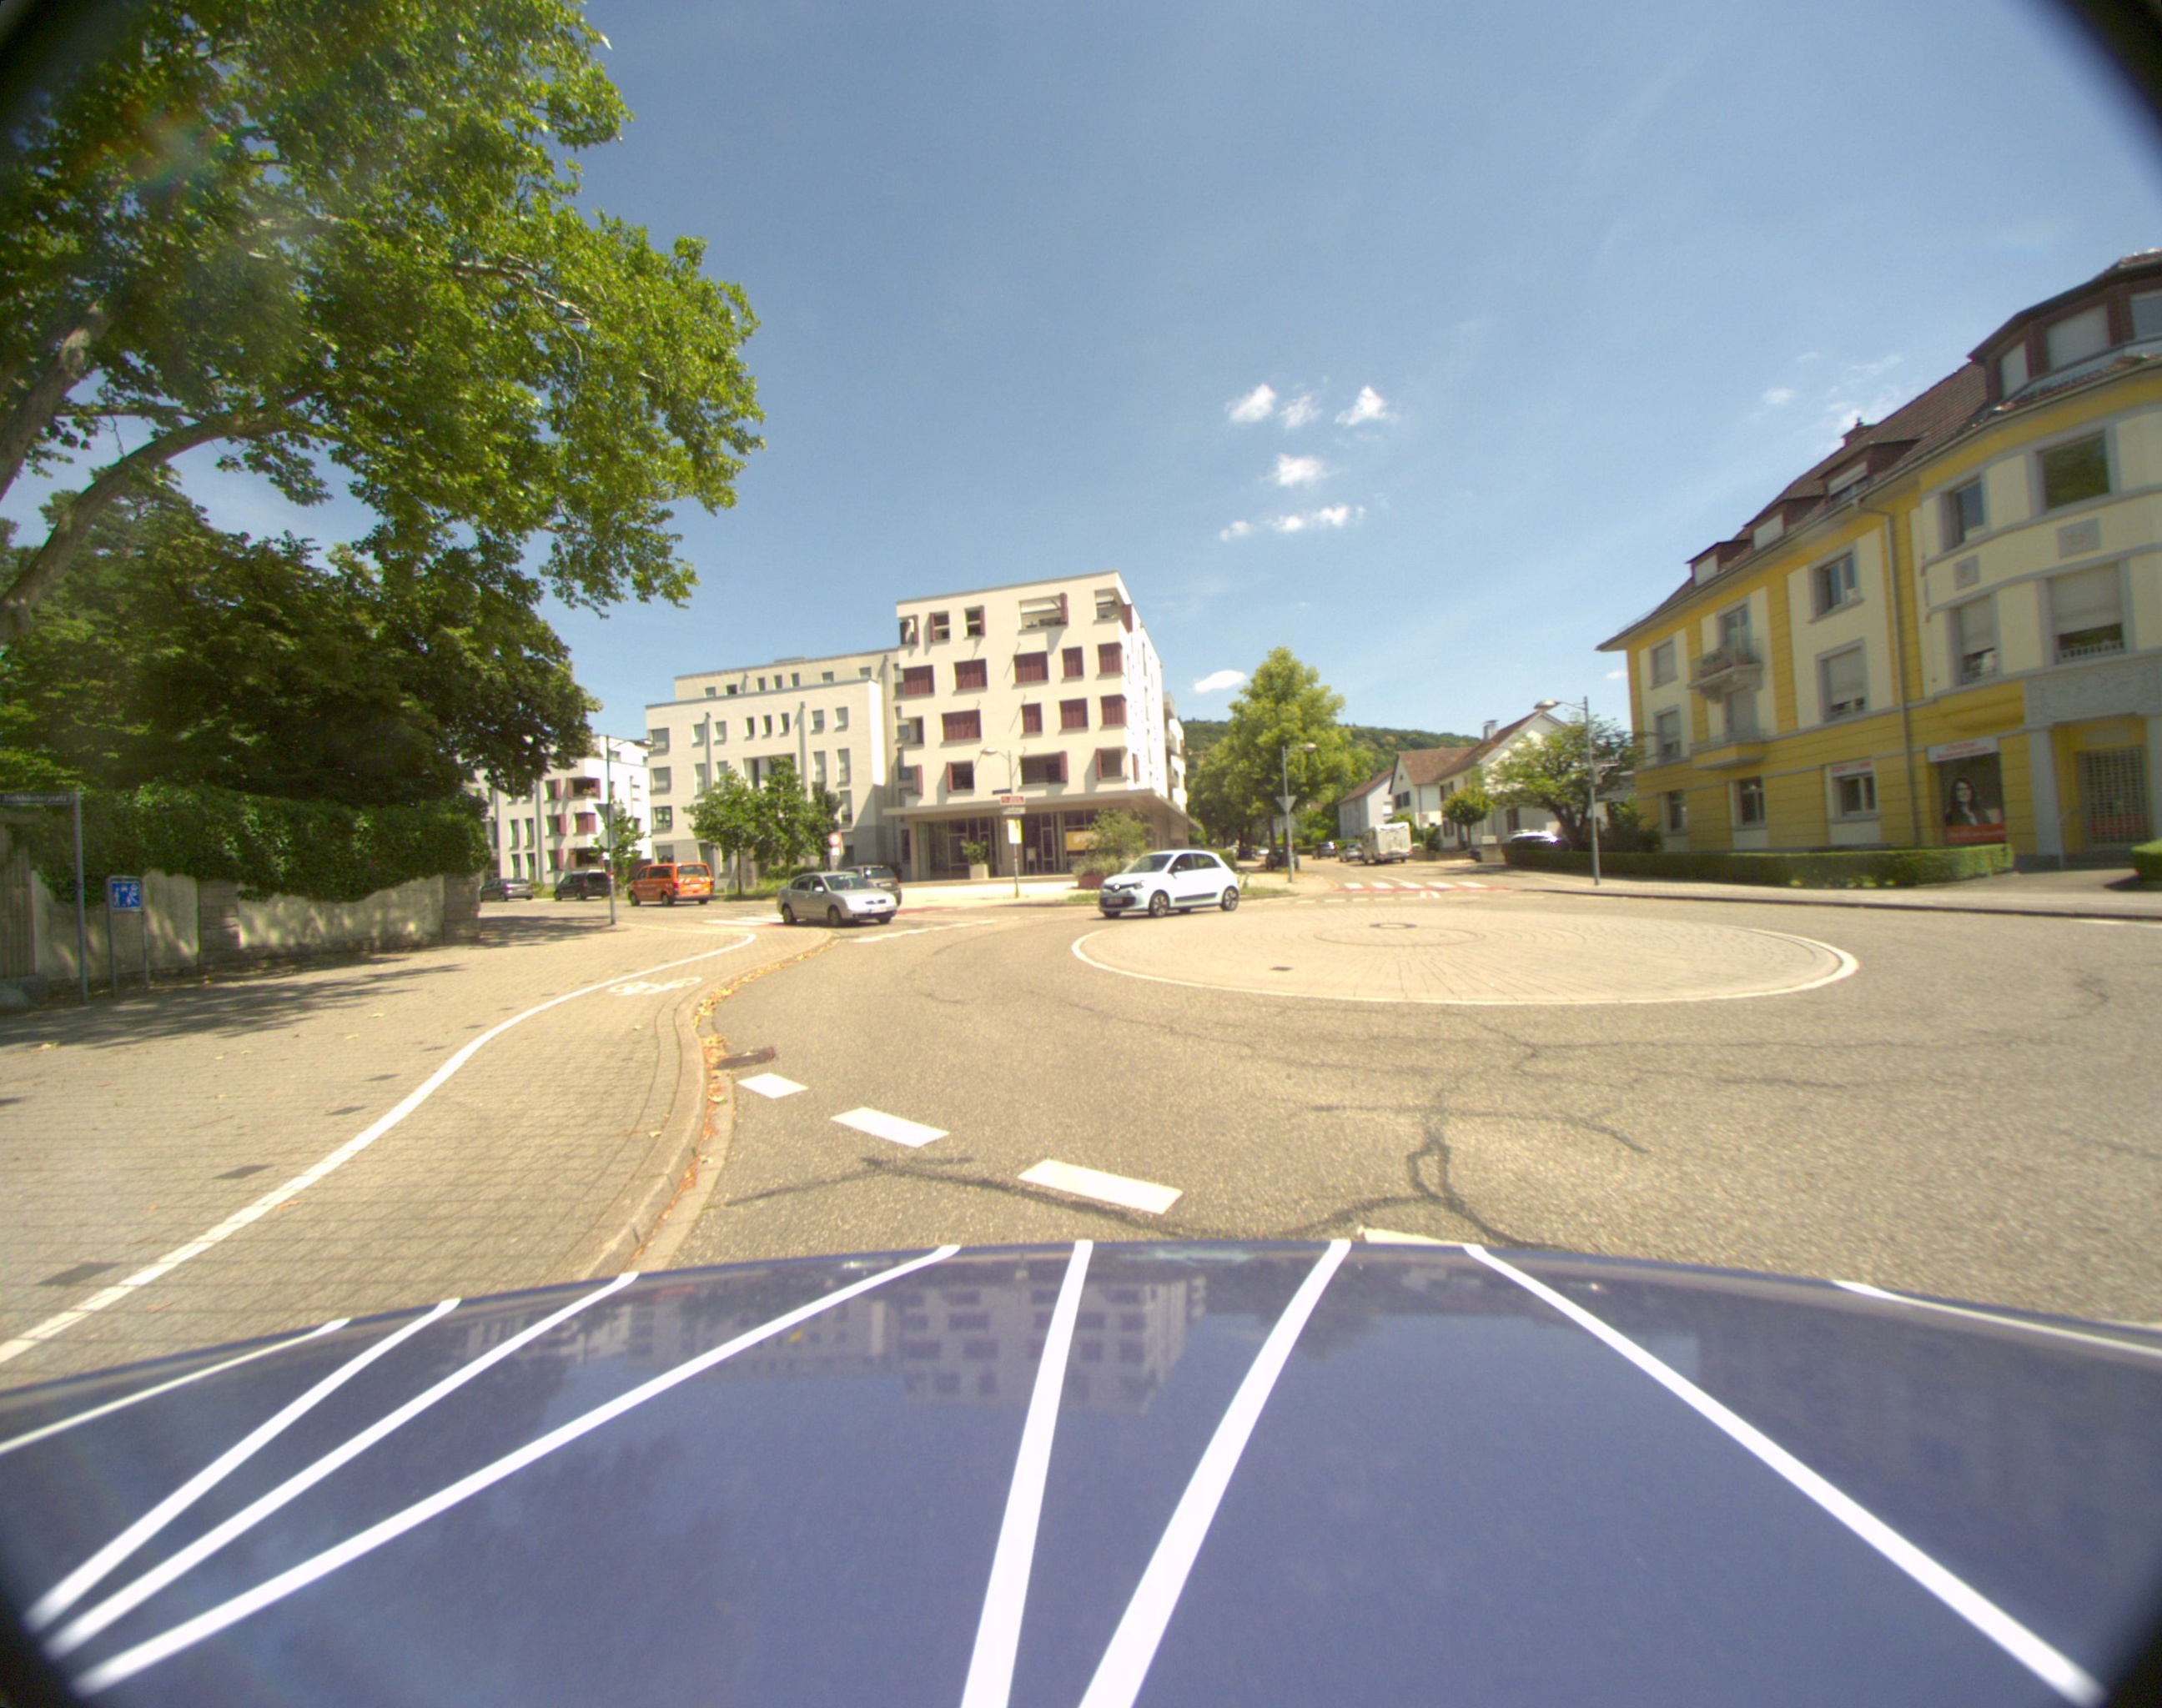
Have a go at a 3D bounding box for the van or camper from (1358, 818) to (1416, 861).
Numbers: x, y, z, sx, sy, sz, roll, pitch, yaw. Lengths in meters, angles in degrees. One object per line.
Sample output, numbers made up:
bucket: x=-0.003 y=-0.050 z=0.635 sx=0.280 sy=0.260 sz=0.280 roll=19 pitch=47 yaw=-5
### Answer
van or camper: x=21.089 y=-0.959 z=52.672 sx=2.271 sy=2.623 sz=5.889 roll=-5 pitch=0 yaw=10

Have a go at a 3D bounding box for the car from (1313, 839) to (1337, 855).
car: x=24.797 y=-0.739 z=77.255 sx=1.754 sy=1.496 sz=3.995 roll=-3 pitch=0 yaw=11

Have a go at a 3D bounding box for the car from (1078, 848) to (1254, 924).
car: x=2.116 y=0.710 z=18.125 sx=4.170 sy=1.516 sz=1.656 roll=-2 pitch=-1 yaw=-39

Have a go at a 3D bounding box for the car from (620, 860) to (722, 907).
car: x=-19.109 y=1.371 z=35.336 sx=5.007 sy=1.948 sz=1.953 roll=-2 pitch=2 yaw=34

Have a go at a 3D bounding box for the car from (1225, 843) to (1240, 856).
car: x=20.783 y=-0.645 z=104.299 sx=1.764 sy=1.740 sz=4.003 roll=-3 pitch=1 yaw=10

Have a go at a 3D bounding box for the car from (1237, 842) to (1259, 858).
car: x=19.029 y=-0.523 z=86.714 sx=1.997 sy=1.657 sz=4.001 roll=-2 pitch=1 yaw=8

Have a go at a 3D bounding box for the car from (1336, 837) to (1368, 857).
car: x=22.222 y=-0.547 z=62.443 sx=1.754 sy=1.496 sz=3.995 roll=-3 pitch=0 yaw=11

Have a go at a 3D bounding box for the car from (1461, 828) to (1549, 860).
car: x=23.916 y=-0.565 z=42.925 sx=3.990 sy=1.577 sz=1.756 roll=-3 pitch=0 yaw=-4

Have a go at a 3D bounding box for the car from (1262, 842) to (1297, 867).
car: x=12.949 y=0.007 z=49.804 sx=1.754 sy=1.496 sz=3.995 roll=-3 pitch=0 yaw=9

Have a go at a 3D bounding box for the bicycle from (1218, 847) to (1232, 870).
bicycle: x=8.843 y=0.269 z=46.594 sx=0.569 sy=1.370 sz=1.750 roll=-2 pitch=1 yaw=18

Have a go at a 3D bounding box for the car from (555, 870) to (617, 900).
car: x=-30.771 y=1.924 z=47.253 sx=3.618 sy=1.690 sz=1.703 roll=-2 pitch=1 yaw=30

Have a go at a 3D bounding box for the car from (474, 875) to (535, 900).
car: x=-39.223 y=2.267 z=51.693 sx=3.619 sy=1.580 sz=1.794 roll=-2 pitch=1 yaw=25

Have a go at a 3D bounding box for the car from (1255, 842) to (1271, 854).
car: x=28.416 y=-0.964 z=118.533 sx=1.997 sy=1.657 sz=4.001 roll=-2 pitch=1 yaw=8

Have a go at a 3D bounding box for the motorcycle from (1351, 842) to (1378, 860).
motorcycle: x=21.762 y=-0.240 z=58.257 sx=2.237 sy=1.312 sz=0.738 roll=-3 pitch=1 yaw=-33

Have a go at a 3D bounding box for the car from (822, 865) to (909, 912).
car: x=-7.708 y=1.218 z=27.169 sx=2.781 sy=1.521 sz=1.573 roll=-2 pitch=1 yaw=37

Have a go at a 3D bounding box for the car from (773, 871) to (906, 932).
car: x=-6.688 y=1.259 z=20.826 sx=3.989 sy=1.443 sz=1.611 roll=-2 pitch=1 yaw=42
